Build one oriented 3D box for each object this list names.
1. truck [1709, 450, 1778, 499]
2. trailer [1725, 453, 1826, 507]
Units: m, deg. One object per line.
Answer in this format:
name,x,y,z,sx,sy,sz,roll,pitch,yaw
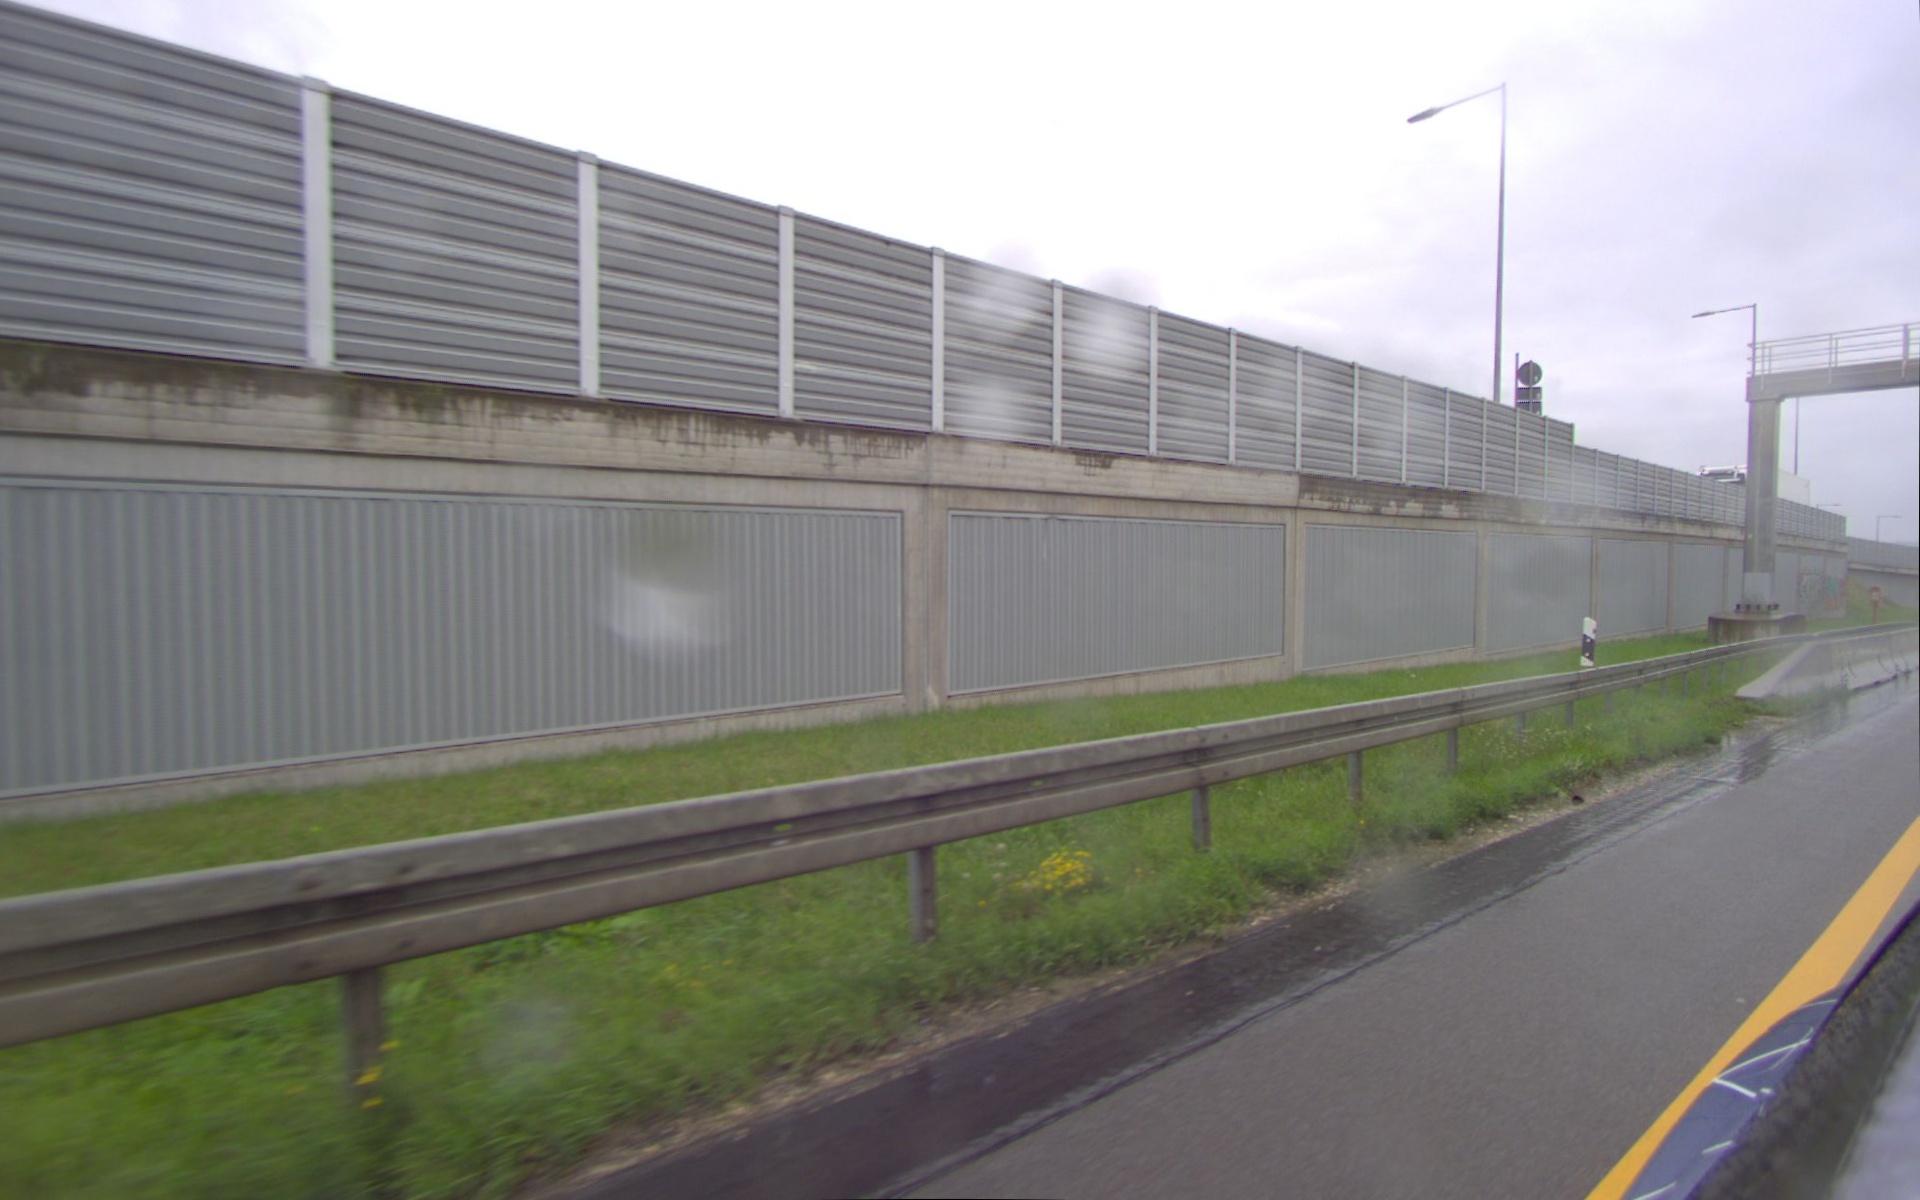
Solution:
truck,38.798,-6.155,50.085,3.988,2.038,1.997,-2,2,-41
trailer,44.861,-6.445,55.440,13.531,2.132,1.997,-2,2,-41
